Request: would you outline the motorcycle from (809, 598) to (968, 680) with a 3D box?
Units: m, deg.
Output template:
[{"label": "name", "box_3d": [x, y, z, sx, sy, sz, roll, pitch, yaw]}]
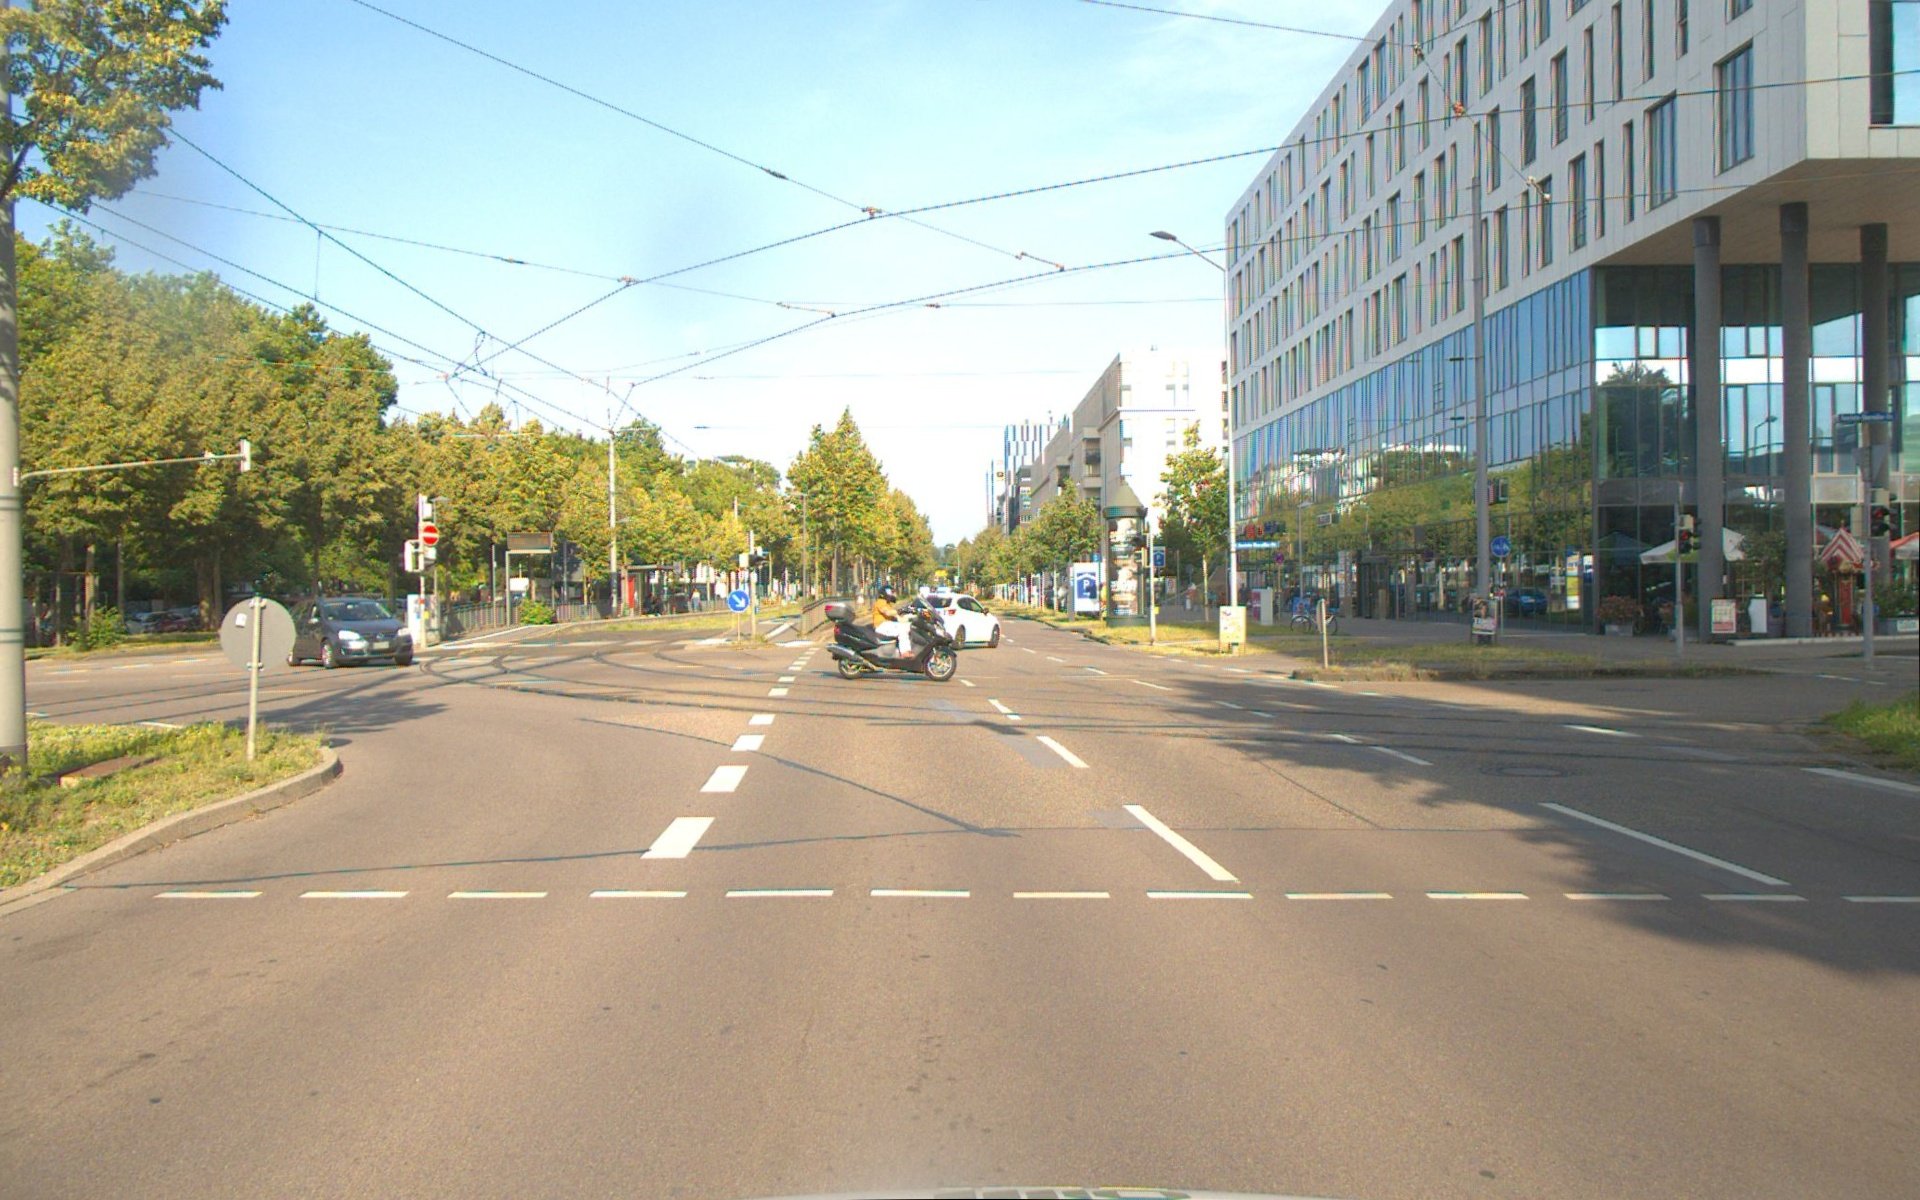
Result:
[{"label": "motorcycle", "box_3d": [-1.187, 0.631, 27.369, 2.487, 1.285, 0.821, 1, 0, 18]}]

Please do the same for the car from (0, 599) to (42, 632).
[{"label": "car", "box_3d": [-46.664, 0.760, 80.221, 1.841, 1.586, 4.002, -1, 0, 4]}]

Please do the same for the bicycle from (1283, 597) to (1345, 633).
[{"label": "bicycle", "box_3d": [11.365, 0.469, 53.152, 0.768, 1.050, 1.848, -1, 3, -44]}]

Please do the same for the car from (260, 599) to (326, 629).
[{"label": "car", "box_3d": [-37.713, 0.779, 93.578, 1.841, 1.586, 4.002, -1, 0, 4]}]

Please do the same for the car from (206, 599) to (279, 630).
[{"label": "car", "box_3d": [-38.132, 0.764, 88.000, 1.841, 1.586, 4.002, -1, 0, 4]}]

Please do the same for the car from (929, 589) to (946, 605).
[{"label": "car", "box_3d": [-2.414, -0.328, 179.110, 1.826, 1.713, 4.000, 1, 1, 0]}]

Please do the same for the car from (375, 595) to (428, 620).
[{"label": "car", "box_3d": [-36.456, 0.468, 108.130, 1.841, 1.586, 4.002, -1, 0, 4]}]

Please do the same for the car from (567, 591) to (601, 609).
[{"label": "car", "box_3d": [-33.860, 0.004, 148.996, 1.841, 1.586, 4.002, -1, 0, 4]}]

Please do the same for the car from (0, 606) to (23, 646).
[{"label": "car", "box_3d": [-39.335, 1.055, 65.588, 1.841, 1.586, 4.002, -1, 0, 4]}]

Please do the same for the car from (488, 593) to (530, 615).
[{"label": "car", "box_3d": [-35.042, 0.296, 128.555, 1.841, 1.586, 4.002, -1, 0, 4]}]

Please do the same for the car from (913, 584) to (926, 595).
[{"label": "car", "box_3d": [-6.325, -1.677, 258.105, 1.974, 1.713, 4.000, 1, 1, -1]}]

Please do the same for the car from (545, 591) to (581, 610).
[{"label": "car", "box_3d": [-34.421, 0.077, 143.502, 1.841, 1.586, 4.002, -1, 0, 4]}]

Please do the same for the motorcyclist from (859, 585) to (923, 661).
[{"label": "motorcyclist", "box_3d": [-1.144, 0.375, 27.393, 0.827, 1.224, 0.785, 1, 1, 18]}]

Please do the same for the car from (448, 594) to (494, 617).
[{"label": "car", "box_3d": [-35.625, 0.398, 120.624, 1.841, 1.586, 4.002, -1, 0, 4]}]

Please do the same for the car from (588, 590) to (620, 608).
[{"label": "car", "box_3d": [-33.418, -0.078, 155.426, 1.841, 1.586, 4.002, -1, 0, 4]}]

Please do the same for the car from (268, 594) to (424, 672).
[{"label": "car", "box_3d": [-13.345, 0.658, 35.792, 1.719, 1.487, 4.507, -3, 3, -40]}]

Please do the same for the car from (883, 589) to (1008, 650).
[{"label": "car", "box_3d": [-0.345, 0.502, 45.054, 1.953, 1.530, 4.092, 1, 0, 22]}]
